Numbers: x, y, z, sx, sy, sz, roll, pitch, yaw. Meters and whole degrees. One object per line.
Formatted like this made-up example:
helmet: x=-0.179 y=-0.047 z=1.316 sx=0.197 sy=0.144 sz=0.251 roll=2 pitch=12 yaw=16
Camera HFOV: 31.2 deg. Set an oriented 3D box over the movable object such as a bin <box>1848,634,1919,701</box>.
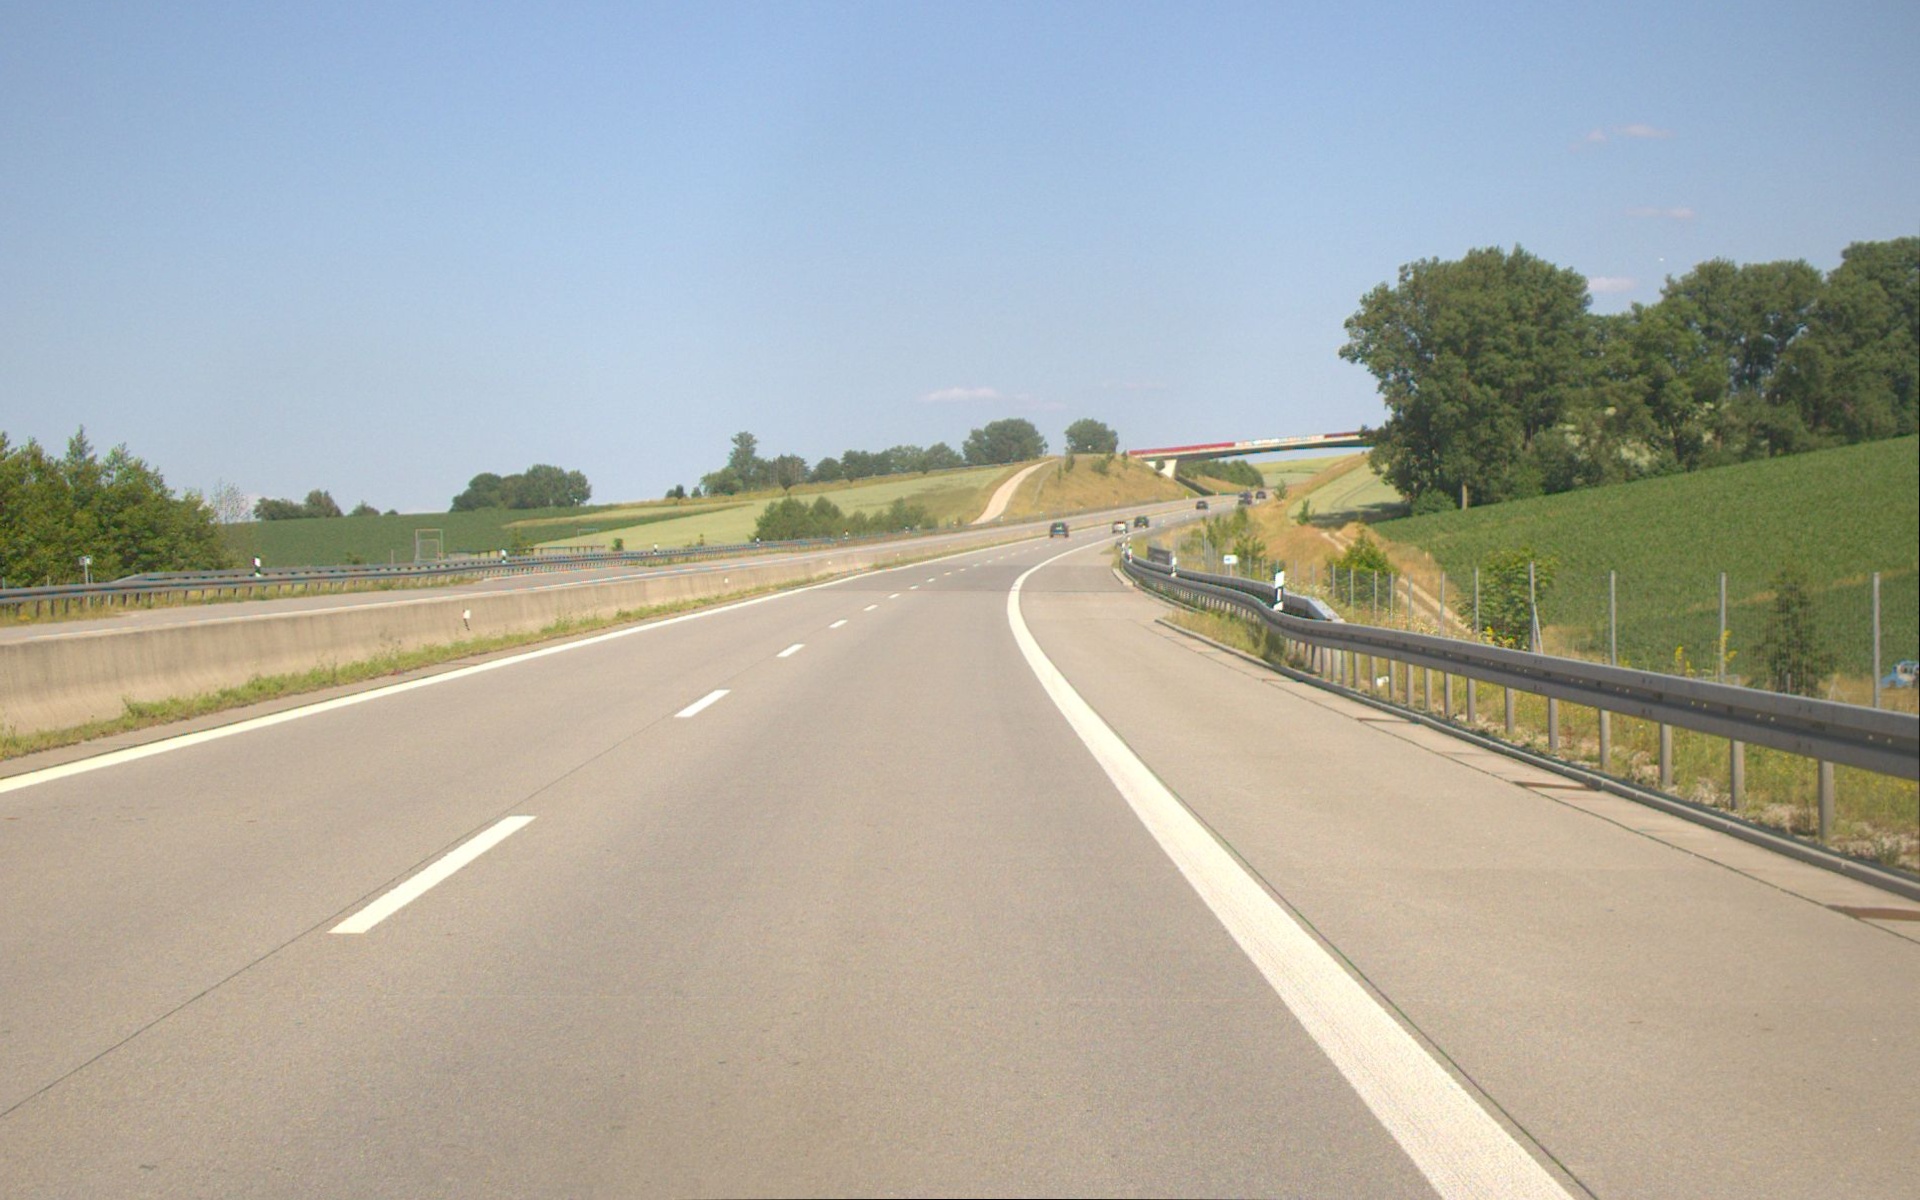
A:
movable object such as a bin: x=41.709 y=2.908 z=147.428 sx=6.227 sy=2.761 sz=3.278 roll=1 pitch=0 yaw=41
